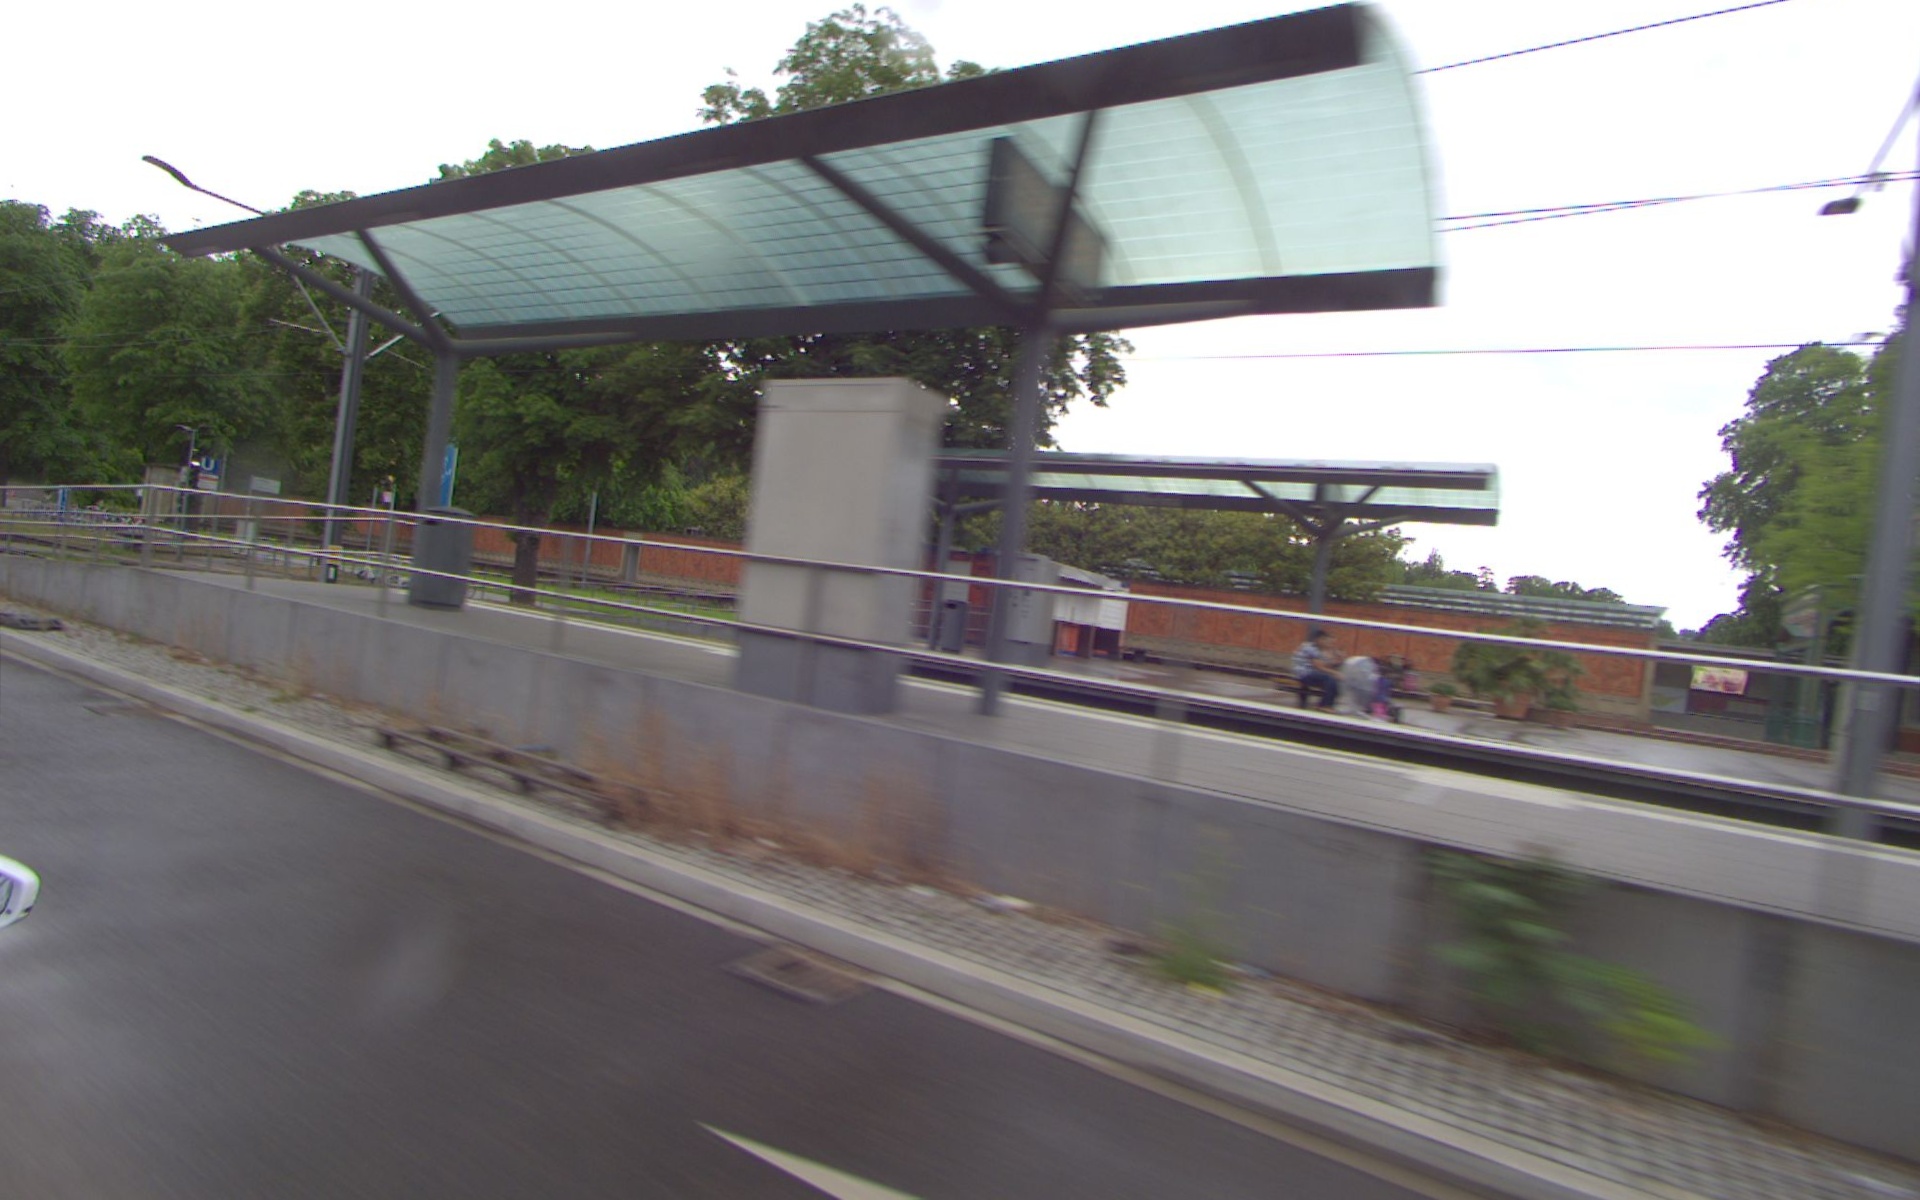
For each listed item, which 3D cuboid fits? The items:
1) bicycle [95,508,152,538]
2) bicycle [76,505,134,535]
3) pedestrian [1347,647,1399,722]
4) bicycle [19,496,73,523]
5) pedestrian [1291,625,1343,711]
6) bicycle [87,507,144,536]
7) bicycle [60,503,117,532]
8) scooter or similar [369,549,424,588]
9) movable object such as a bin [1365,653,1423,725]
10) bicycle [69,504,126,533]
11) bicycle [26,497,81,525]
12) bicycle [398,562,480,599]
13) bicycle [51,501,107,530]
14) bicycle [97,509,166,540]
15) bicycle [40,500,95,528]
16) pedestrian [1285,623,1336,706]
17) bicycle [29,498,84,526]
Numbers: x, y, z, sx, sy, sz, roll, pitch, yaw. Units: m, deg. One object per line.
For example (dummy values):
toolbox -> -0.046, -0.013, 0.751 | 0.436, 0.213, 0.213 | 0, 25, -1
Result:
bicycle -> -37.752, -3.460, 45.431 | 0.641, 1.044, 1.814 | 8, 0, 29
bicycle -> -39.311, -3.672, 46.281 | 0.641, 1.044, 1.850 | 8, 0, 29
pedestrian -> 6.136, 1.249, 14.936 | 0.542, 1.021, 0.437 | 7, 1, 32
bicycle -> -45.267, -4.460, 49.824 | 0.641, 1.044, 1.814 | 8, 0, 29
pedestrian -> 5.467, 1.042, 15.395 | 0.542, 1.241, 0.437 | 7, 1, 32
bicycle -> -38.541, -3.563, 45.925 | 0.641, 1.044, 1.814 | 8, 0, 29
bicycle -> -40.662, -3.852, 46.963 | 0.641, 1.047, 1.814 | 8, 0, 29
scooter or similar -> -19.252, -1.061, 34.377 | 0.424, 1.151, 1.546 | 8, 0, 30
movable object such as a bin -> 6.765, 1.376, 15.695 | 0.670, 1.021, 0.437 | 7, 1, 32
bicycle -> -39.988, -3.760, 46.664 | 0.641, 1.044, 1.814 | 8, 0, 29
bicycle -> -44.505, -4.363, 49.418 | 0.641, 1.044, 1.814 | 8, 0, 29
bicycle -> -16.661, -0.609, 32.237 | 0.560, 0.969, 2.325 | 8, 0, 30
bicycle -> -41.868, -4.005, 47.823 | 0.641, 1.044, 1.814 | 8, 0, 29
bicycle -> -37.078, -3.375, 45.032 | 0.677, 1.044, 2.227 | 8, 0, 29
bicycle -> -43.016, -4.154, 48.524 | 0.641, 1.044, 1.814 | 8, 0, 29
pedestrian -> 5.575, 1.023, 15.990 | 0.542, 1.241, 0.437 | 7, 1, 32
bicycle -> -43.884, -4.282, 48.890 | 0.641, 1.044, 1.814 | 8, 0, 29
